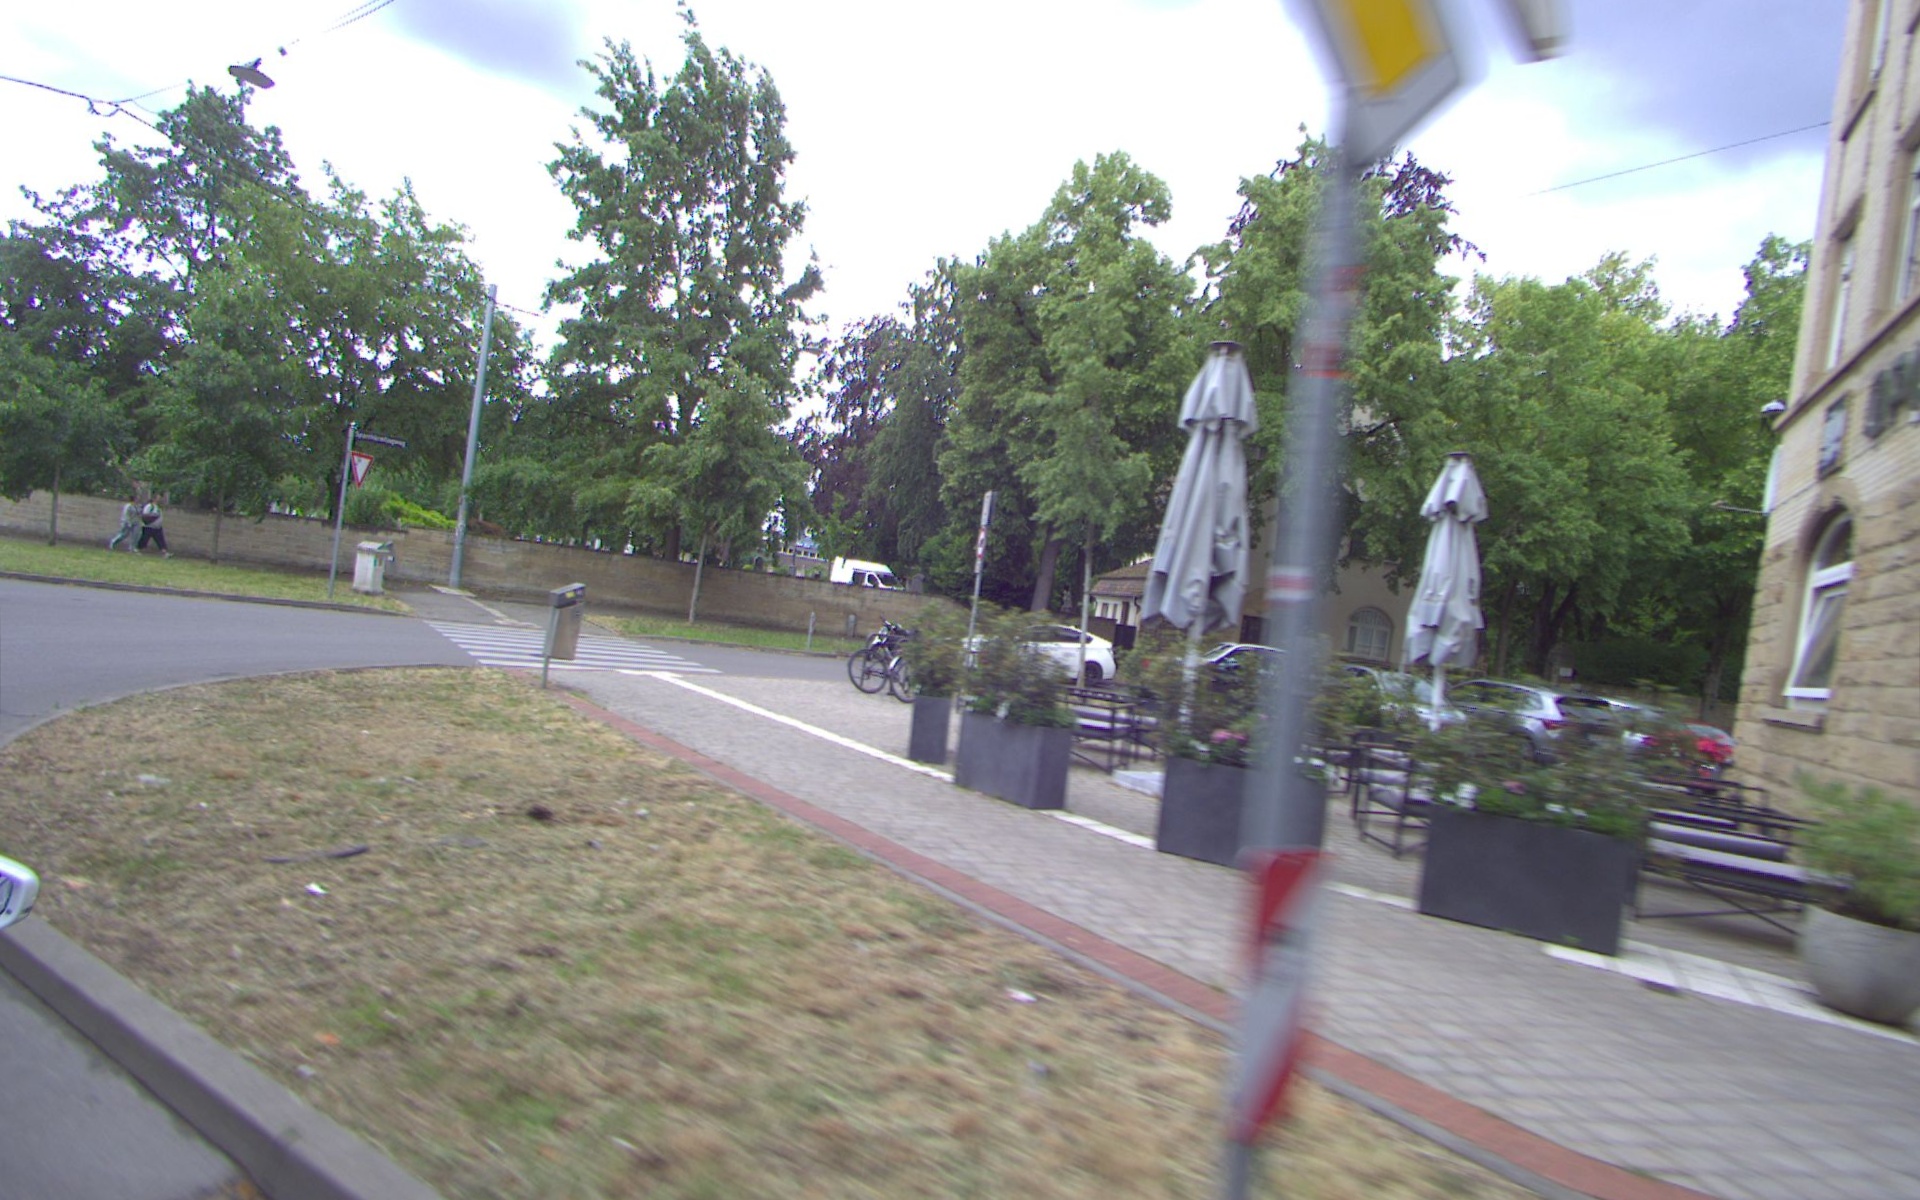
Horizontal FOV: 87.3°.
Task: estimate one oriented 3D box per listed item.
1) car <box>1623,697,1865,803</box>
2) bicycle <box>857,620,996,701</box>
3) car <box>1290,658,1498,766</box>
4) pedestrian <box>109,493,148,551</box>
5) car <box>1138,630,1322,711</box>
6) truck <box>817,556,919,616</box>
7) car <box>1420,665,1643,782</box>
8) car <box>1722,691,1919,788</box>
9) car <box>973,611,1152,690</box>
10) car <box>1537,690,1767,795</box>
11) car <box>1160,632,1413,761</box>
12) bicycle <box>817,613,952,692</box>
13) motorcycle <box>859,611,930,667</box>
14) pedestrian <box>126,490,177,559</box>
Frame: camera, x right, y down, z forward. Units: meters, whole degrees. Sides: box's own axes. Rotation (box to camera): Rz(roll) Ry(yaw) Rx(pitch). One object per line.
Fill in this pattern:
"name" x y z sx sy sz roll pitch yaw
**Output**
"car" 14.872 2.804 19.284 1.527 1.453 3.284 8 -3 -18
"bicycle" -0.468 0.940 15.297 2.173 1.079 0.594 6 0 -43
"car" 7.729 1.959 18.213 1.527 1.373 3.282 8 -1 -18
"pedestrian" -24.270 -2.279 29.361 0.564 1.606 0.581 7 3 1
"car" 7.327 1.913 27.526 4.299 1.616 1.996 7 0 -10
"truck" -5.479 -0.847 59.543 5.677 2.867 2.217 6 -3 37
"car" 10.161 2.151 18.140 1.527 1.553 3.148 8 -2 -18
"car" 17.458 2.763 20.011 1.527 1.492 3.284 8 -3 -18
"car" 2.671 1.309 26.558 4.210 1.517 1.807 7 0 -14
"car" 12.744 2.591 18.727 1.453 1.416 3.166 8 -3 -20
"car" 5.558 1.599 17.806 1.970 1.615 4.356 7 0 -17
"bicycle" -1.165 0.857 16.045 2.173 1.079 0.594 6 0 -43
"motorcycle" -1.638 1.006 25.596 0.552 1.182 1.995 6 -3 36
"pedestrian" -22.078 -2.043 27.483 0.649 1.756 0.711 7 1 -4
